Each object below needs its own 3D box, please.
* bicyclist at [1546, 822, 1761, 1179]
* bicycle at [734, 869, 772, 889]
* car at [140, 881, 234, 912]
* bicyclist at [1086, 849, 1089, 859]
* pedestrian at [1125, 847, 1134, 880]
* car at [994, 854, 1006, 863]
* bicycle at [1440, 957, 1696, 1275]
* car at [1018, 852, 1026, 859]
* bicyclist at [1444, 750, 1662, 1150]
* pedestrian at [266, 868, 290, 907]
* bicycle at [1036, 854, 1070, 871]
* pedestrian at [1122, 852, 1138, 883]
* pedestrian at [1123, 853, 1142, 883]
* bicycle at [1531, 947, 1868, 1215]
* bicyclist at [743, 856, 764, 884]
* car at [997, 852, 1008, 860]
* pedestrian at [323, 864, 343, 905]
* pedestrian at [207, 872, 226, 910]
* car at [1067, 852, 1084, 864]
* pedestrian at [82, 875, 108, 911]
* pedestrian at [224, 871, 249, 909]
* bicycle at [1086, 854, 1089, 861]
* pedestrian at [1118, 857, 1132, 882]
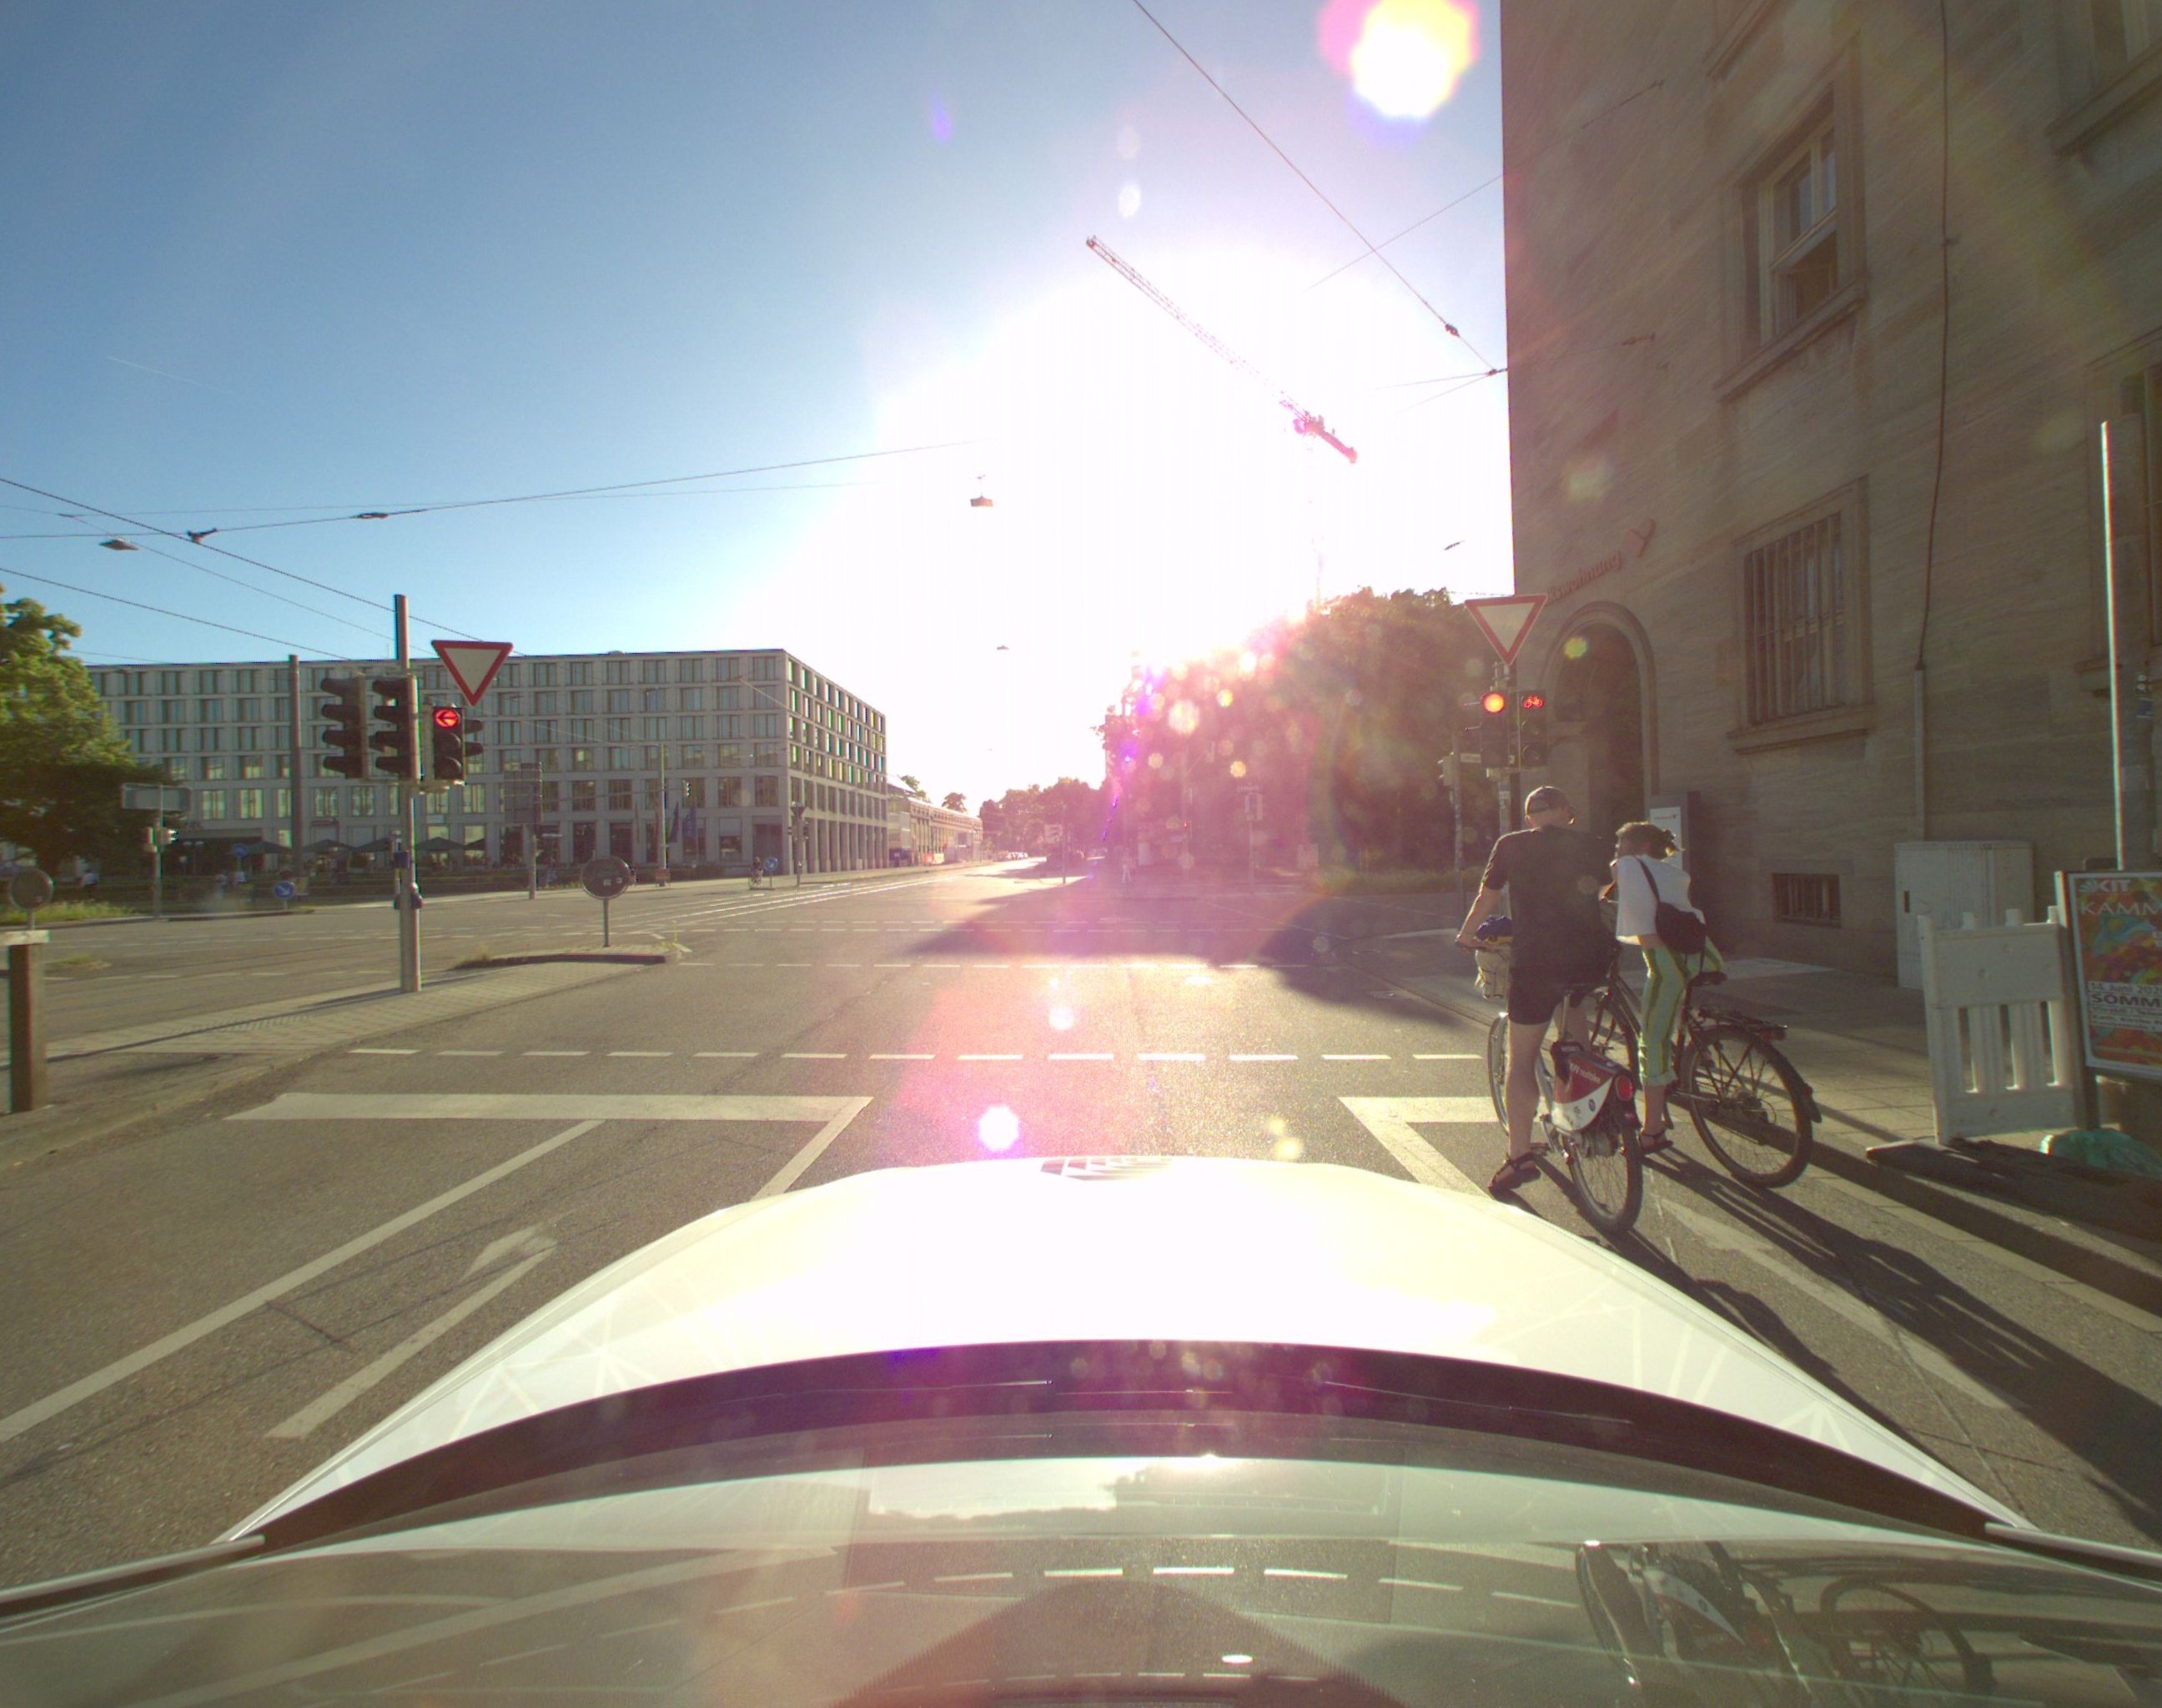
[{"bbox_3d":[2.955,0.695,4.286,0.519,1.679,0.860,-2,0,5],"label":"bicyclist"},{"bbox_3d":[-19.425,1.464,48.338,0.872,1.121,3.015,-2,0,3],"label":"bicycle"},{"bbox_3d":[-46.874,2.216,42.758,3.177,1.438,1.470,-2,0,-3],"label":"car"},{"bbox_3d":[0.782,0.023,98.599,0.317,1.127,0.291,-2,0,2],"label":"bicyclist"},{"bbox_3d":[2.645,0.529,44.830,0.358,1.804,0.508,-2,0,14],"label":"pedestrian"},{"bbox_3d":[-15.690,0.863,157.133,1.724,1.653,4.002,-2,0,2],"label":"car"},{"bbox_3d":[2.210,1.078,3.955,0.387,0.905,1.956,-2,0,10],"label":"bicycle"},{"bbox_3d":[-14.043,0.322,195.071,1.478,1.750,4.002,-2,0,2],"label":"car"},{"bbox_3d":[2.151,0.409,3.800,0.665,1.678,0.659,-2,0,12],"label":"bicyclist"},{"bbox_3d":[-43.828,1.834,44.466,0.648,2.069,0.649,-2,-3,-5],"label":"pedestrian"},{"bbox_3d":[-2.327,0.724,67.357,2.728,1.367,0.633,-1,-1,12],"label":"bicycle"},{"bbox_3d":[2.650,0.736,44.133,0.792,1.639,0.534,-2,0,4],"label":"pedestrian"},{"bbox_3d":[2.758,0.748,43.417,0.980,1.587,0.661,-2,-1,3],"label":"pedestrian"},{"bbox_3d":[3.087,1.051,4.335,0.424,0.876,1.953,-2,0,5],"label":"bicycle"},{"bbox_3d":[-19.446,0.952,48.396,0.872,1.641,0.822,-2,0,3],"label":"bicyclist"},{"bbox_3d":[-15.478,0.379,160.775,1.724,1.653,4.002,-2,0,2],"label":"car"},{"bbox_3d":[-42.484,1.719,46.242,0.568,2.280,0.532,-2,0,-5],"label":"pedestrian"},{"bbox_3d":[-46.330,1.957,43.630,0.490,2.013,0.493,-2,0,14],"label":"pedestrian"},{"bbox_3d":[-0.567,0.410,90.600,1.814,1.279,3.999,-2,0,0],"label":"car"},{"bbox_3d":[-53.837,2.131,44.460,0.557,1.903,0.684,-2,0,10],"label":"pedestrian"},{"bbox_3d":[-46.354,1.966,44.714,0.528,2.013,0.800,-2,0,-5],"label":"pedestrian"},{"bbox_3d":[0.793,0.402,98.600,0.323,0.868,1.484,-2,0,2],"label":"bicycle"},{"bbox_3d":[2.360,0.824,43.654,0.749,1.332,0.743,-2,0,3],"label":"pedestrian"}]
